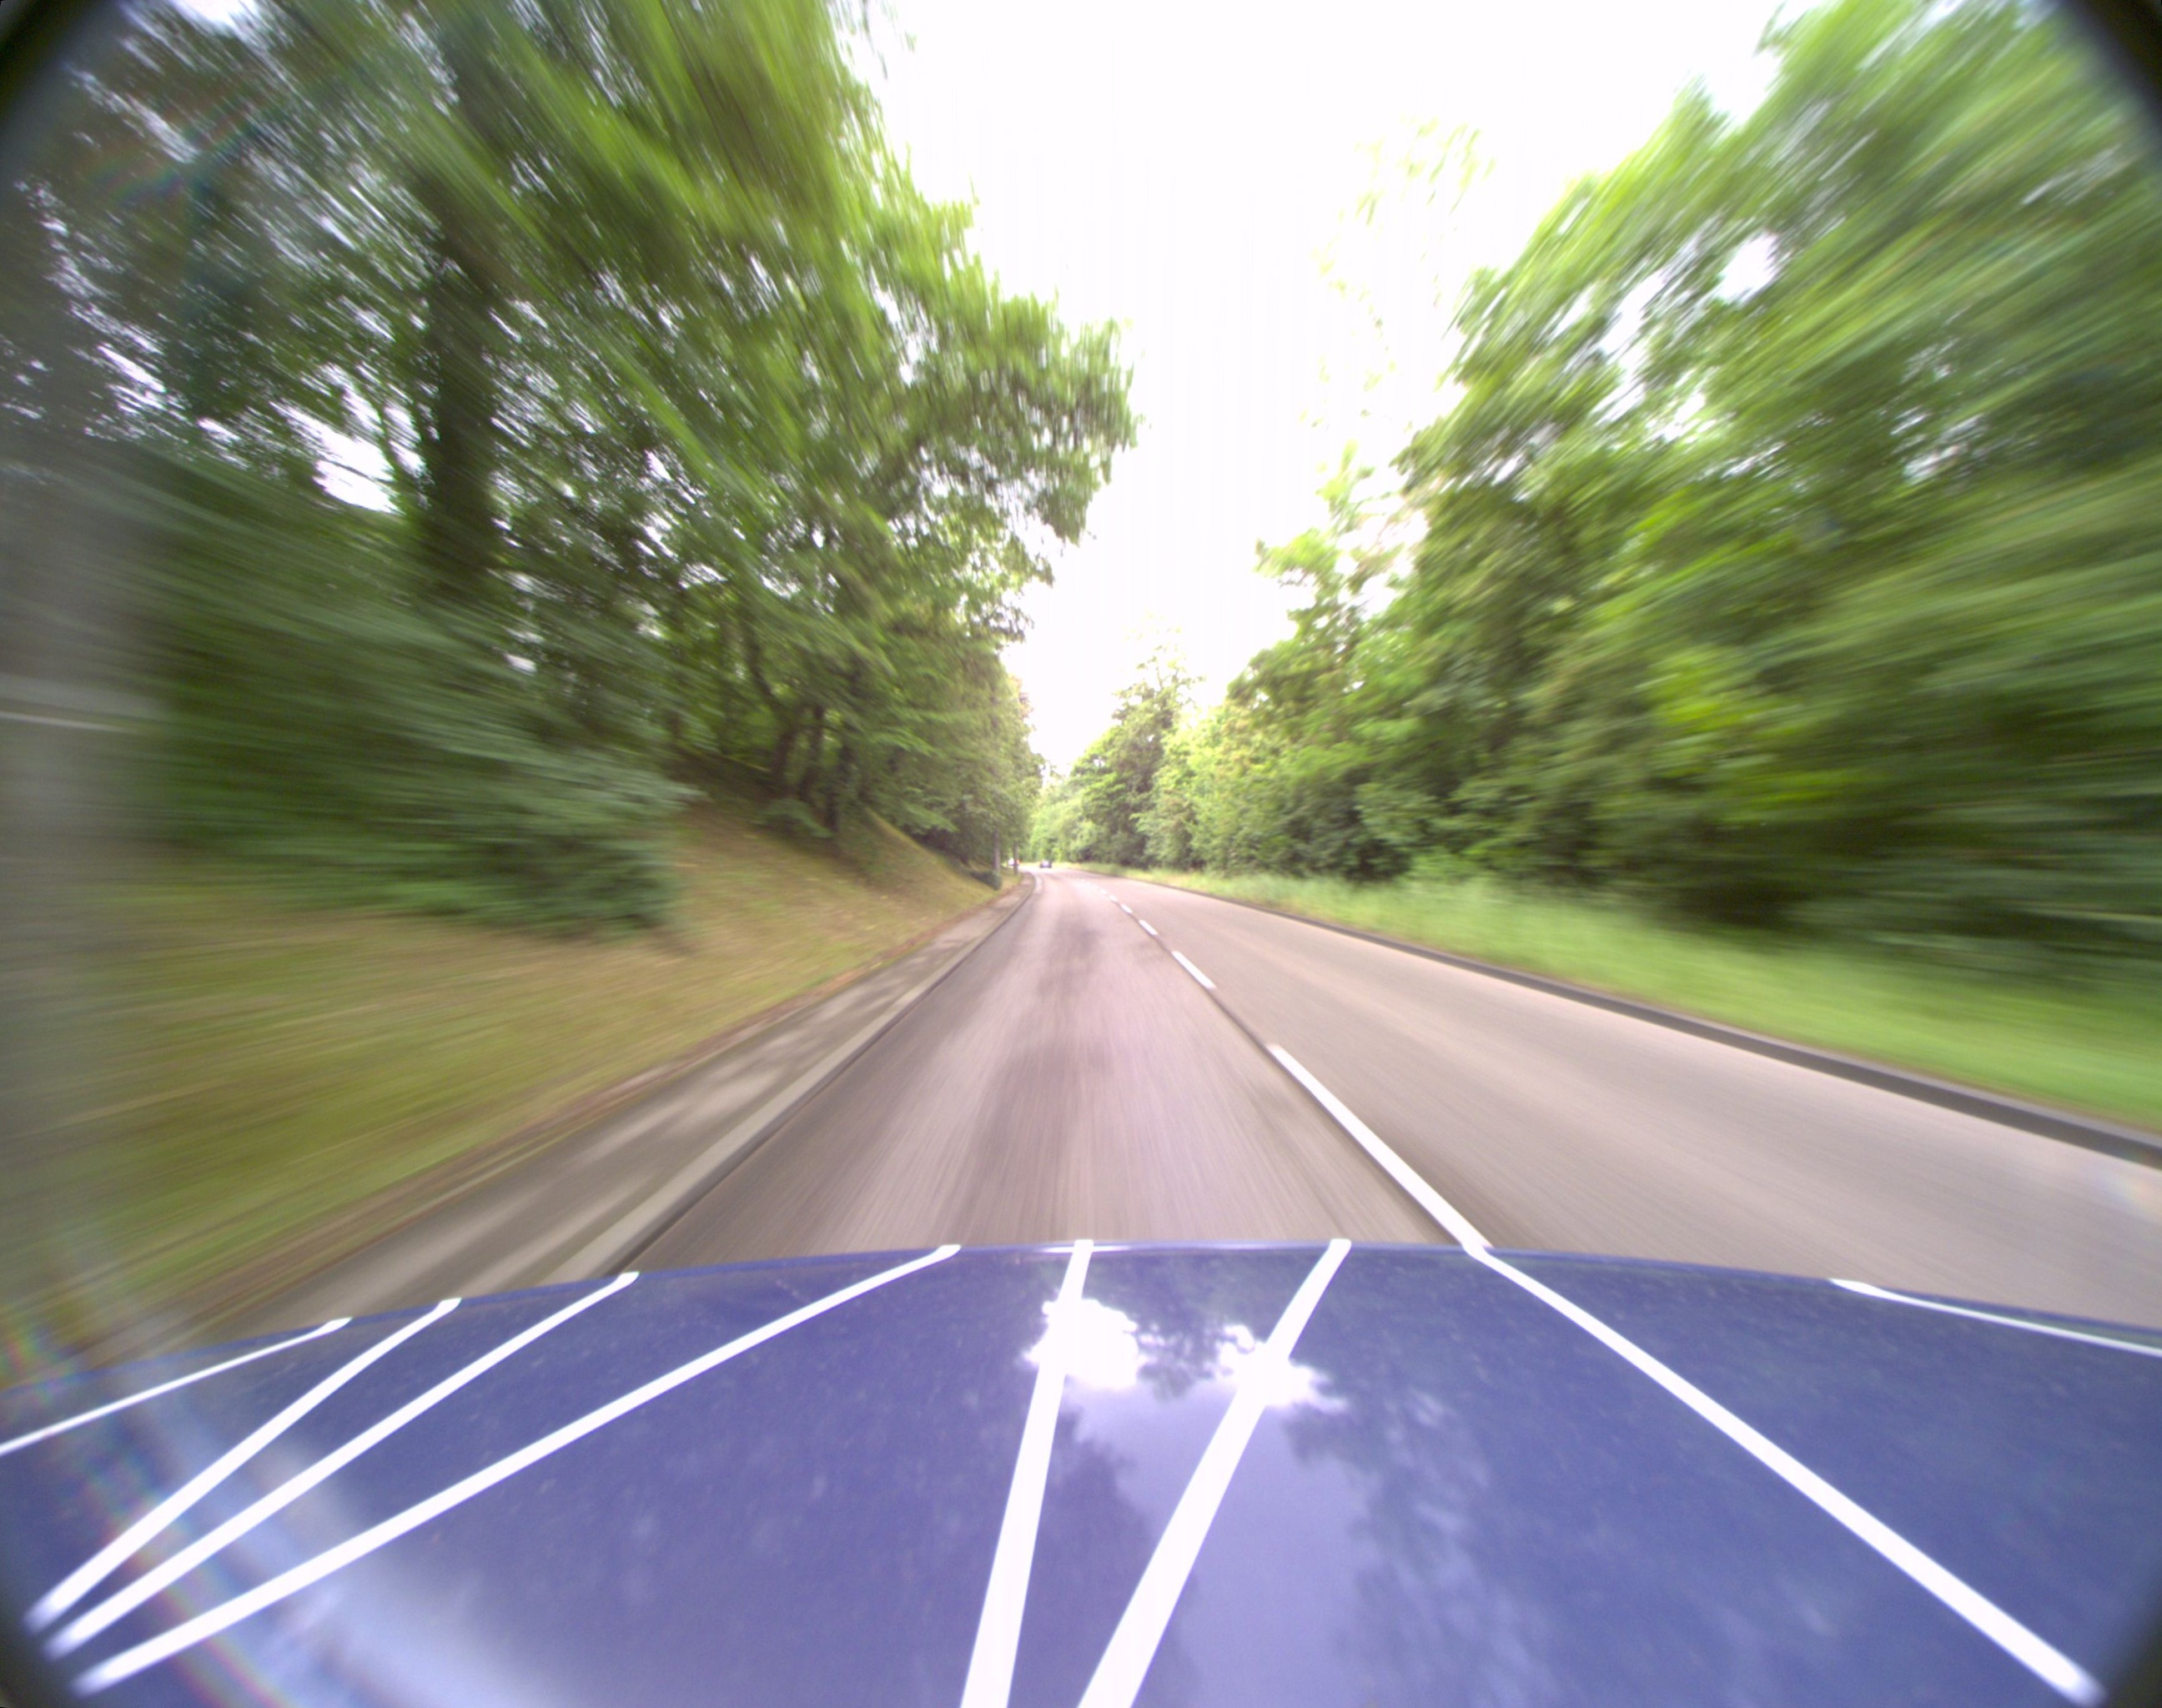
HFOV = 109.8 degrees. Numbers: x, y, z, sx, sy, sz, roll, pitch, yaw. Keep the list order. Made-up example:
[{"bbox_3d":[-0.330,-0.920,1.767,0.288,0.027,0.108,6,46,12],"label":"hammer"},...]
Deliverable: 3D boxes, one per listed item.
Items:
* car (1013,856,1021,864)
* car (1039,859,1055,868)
[{"bbox_3d":[-15.213,1.406,180.741,1.824,1.685,4.284,-2,1,-7],"label":"car"},{"bbox_3d":[-5.790,1.561,128.535,2.000,1.429,3.995,-2,1,-12],"label":"car"}]
